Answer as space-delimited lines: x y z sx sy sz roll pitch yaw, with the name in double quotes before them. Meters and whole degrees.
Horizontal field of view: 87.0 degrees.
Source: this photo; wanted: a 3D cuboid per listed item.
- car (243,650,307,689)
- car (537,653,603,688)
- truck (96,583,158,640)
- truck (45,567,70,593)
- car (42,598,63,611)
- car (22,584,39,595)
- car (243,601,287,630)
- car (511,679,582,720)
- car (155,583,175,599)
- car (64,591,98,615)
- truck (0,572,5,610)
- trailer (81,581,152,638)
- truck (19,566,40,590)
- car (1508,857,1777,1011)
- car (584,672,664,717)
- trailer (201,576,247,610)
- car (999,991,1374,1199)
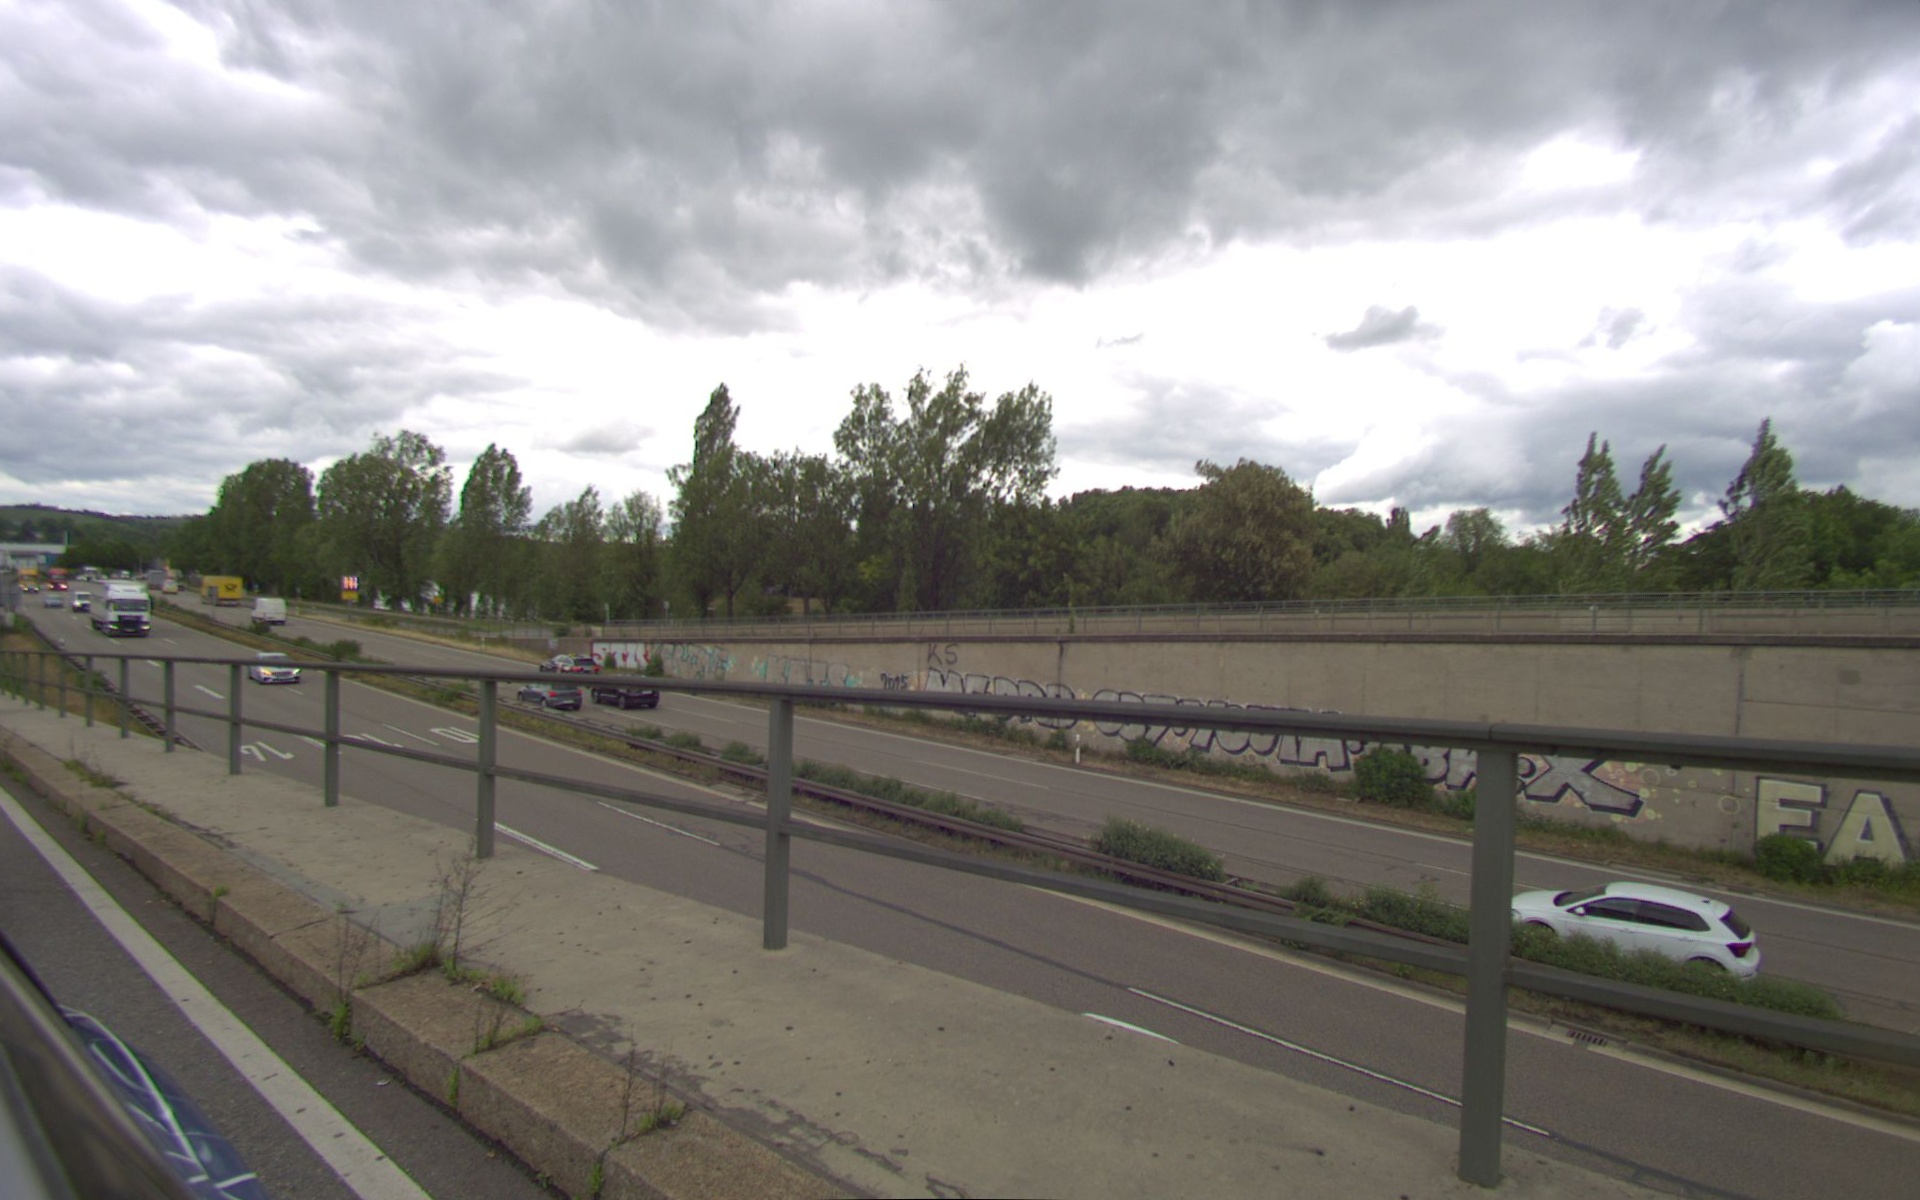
"car" -36.393 3.639 53.709 4.439 1.582 1.830 3 2 43
"car" -23.324 4.169 60.447 4.635 1.664 1.839 2 0 44
"truck" -65.398 0.872 79.418 5.876 4.140 2.969 2 0 44
"truck" -171.967 -3.858 192.854 9.922 4.774 2.717 2 -2 44
"car" -104.846 0.515 116.949 3.538 1.383 1.492 3 0 43
"car" -153.318 -1.741 166.885 4.002 1.679 1.786 3 1 44
"car" -69.050 1.480 100.484 6.101 2.613 2.144 2 0 42
"car" -19.366 4.600 47.390 3.651 1.464 1.695 3 1 43
"car" -150.554 -1.722 191.640 6.715 2.648 1.972 2 -1 43
"car" -95.770 0.293 110.233 6.502 2.259 2.076 3 0 43
"truck" -111.228 -1.091 115.463 3.059 4.040 8.497 1 2 -45
"trailer" -70.239 0.707 84.112 13.994 4.140 2.969 2 0 44
"truck" -172.357 -4.027 187.388 8.175 4.153 2.382 3 1 44
"car" 12.413 5.970 18.528 3.896 1.505 1.756 2 -1 41
"car" -16.407 4.541 49.313 4.183 1.731 1.861 2 0 43
"trailer" -102.808 -0.999 141.232 3.203 4.294 13.691 2 0 -44
"car" 2.251 5.530 10.481 3.337 1.539 1.745 2 0 43
